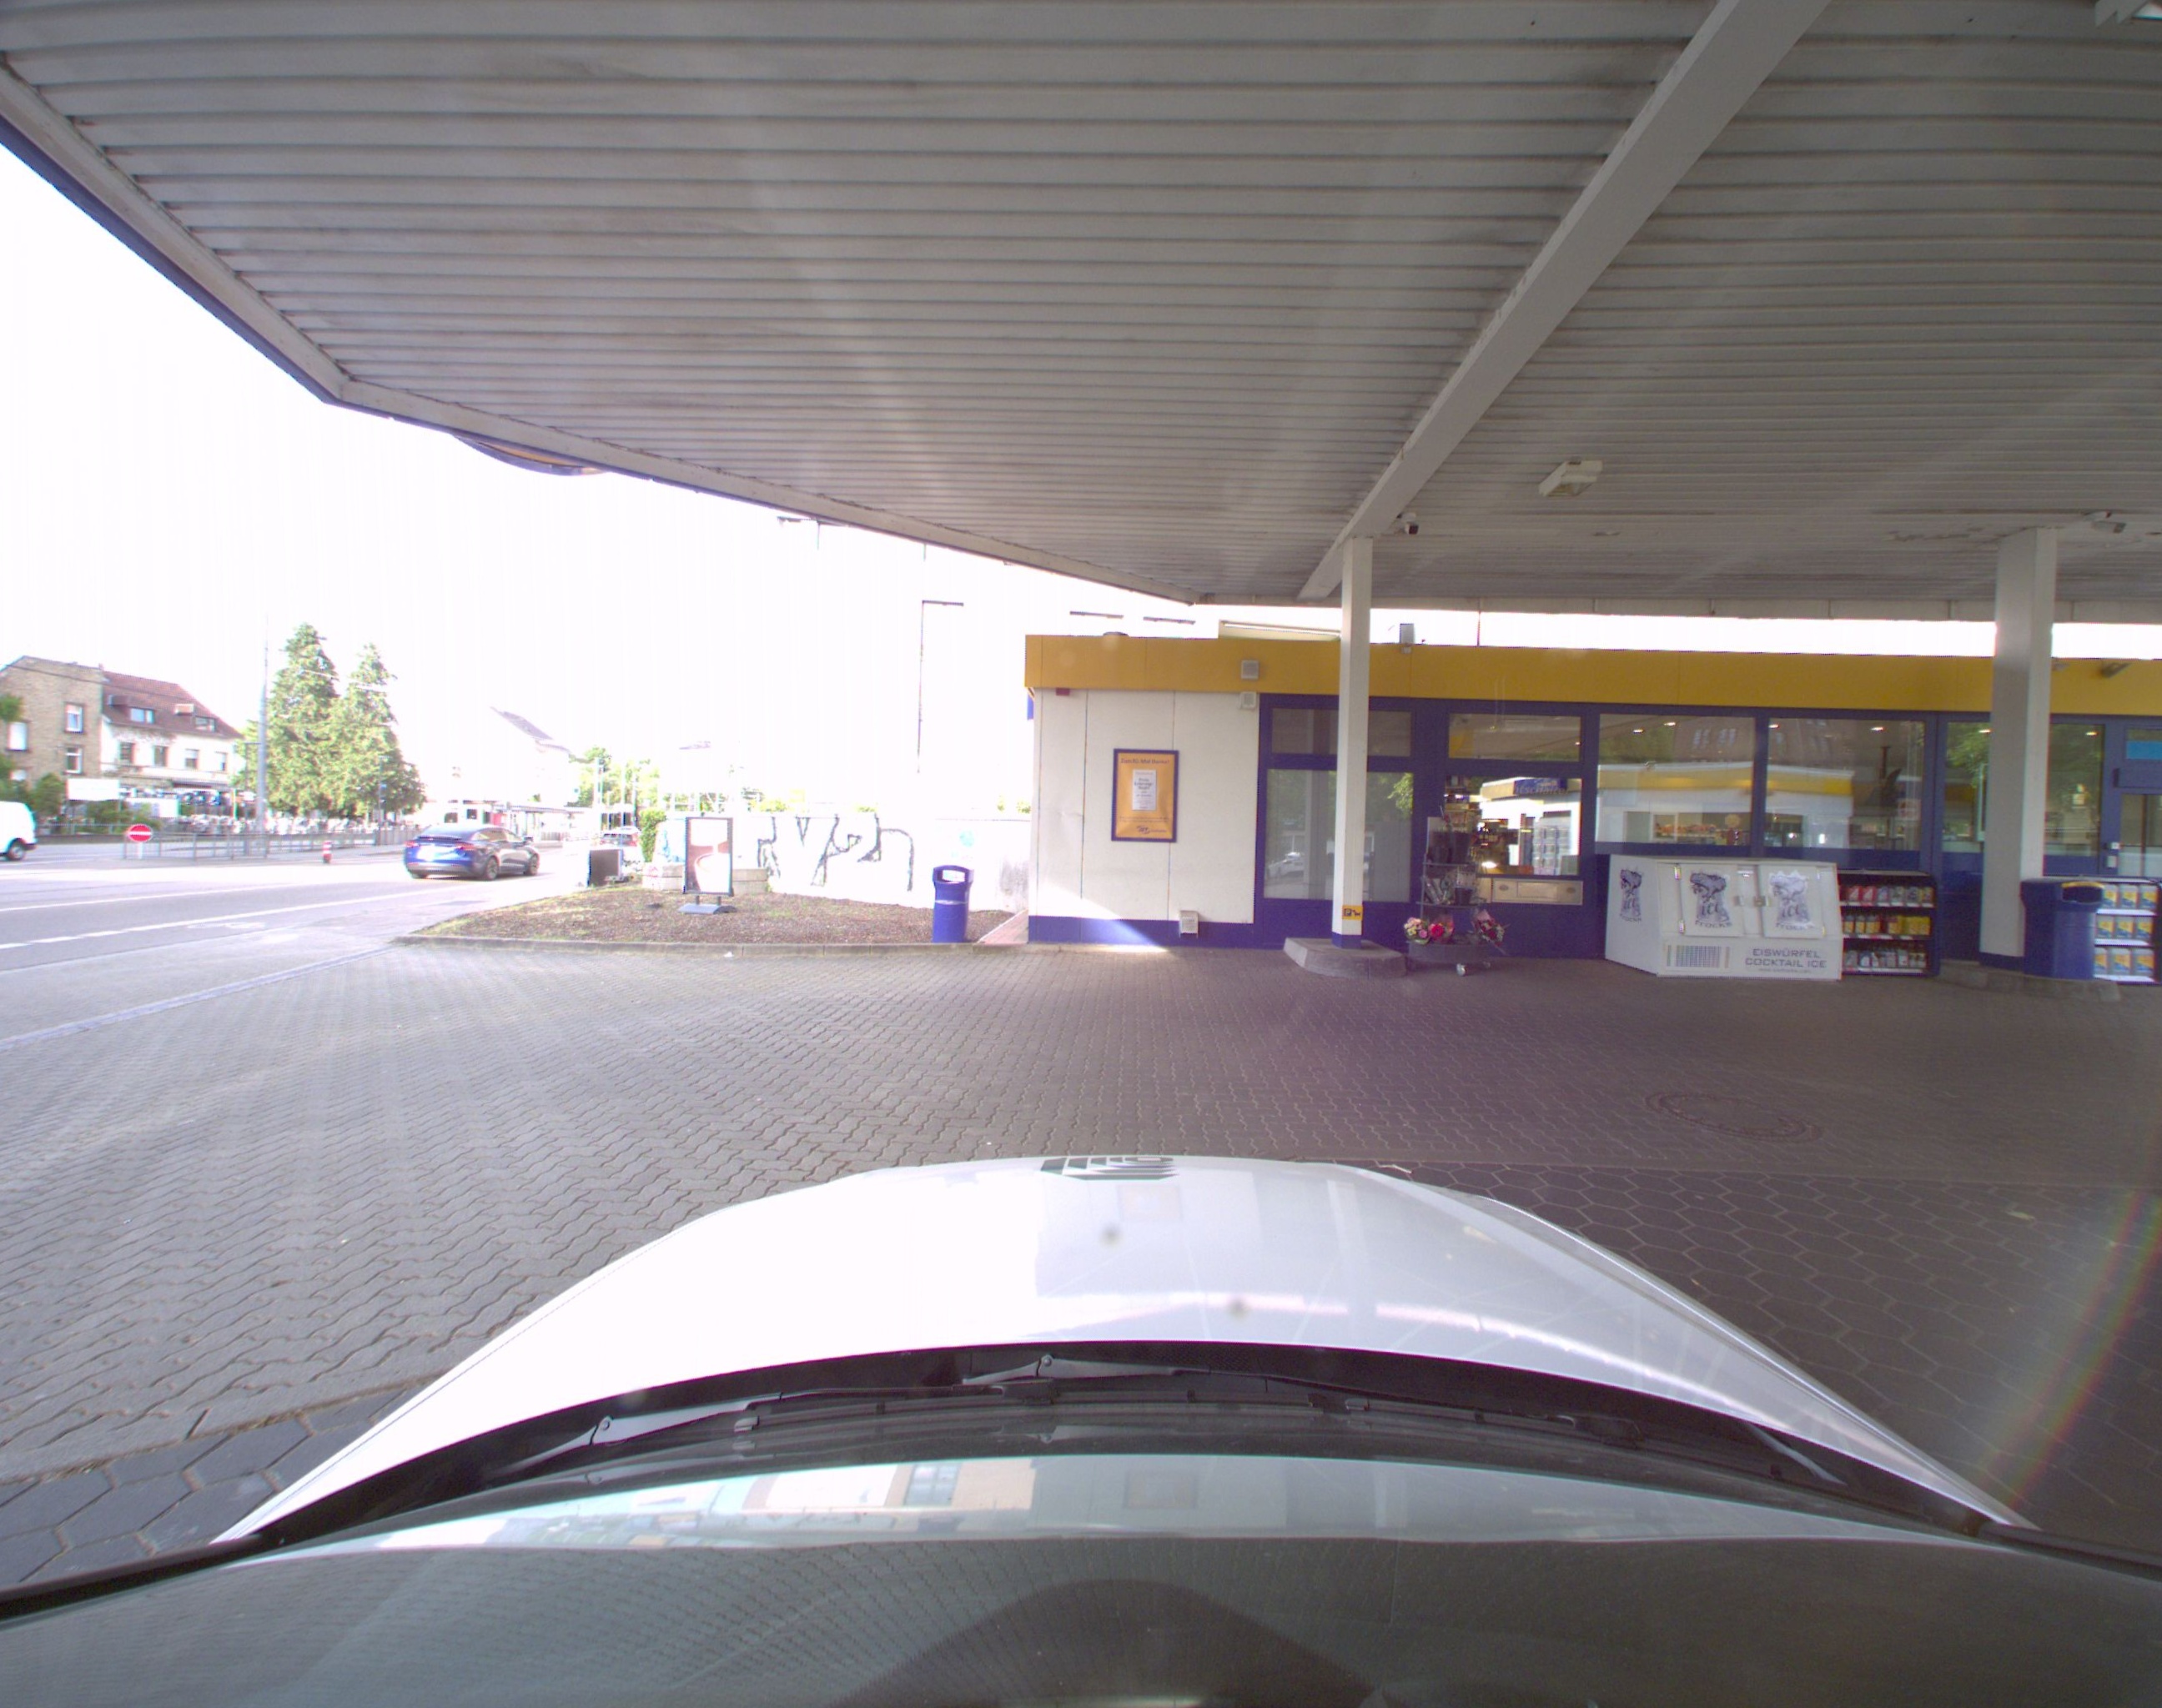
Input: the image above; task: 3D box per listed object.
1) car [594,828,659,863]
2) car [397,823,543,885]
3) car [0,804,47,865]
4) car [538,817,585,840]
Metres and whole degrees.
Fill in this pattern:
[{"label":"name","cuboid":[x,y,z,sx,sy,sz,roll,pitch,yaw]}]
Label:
[{"label":"car","cuboid":[-22.519,-0.437,40.492,1.767,1.543,4.111,2,0,-15]},{"label":"car","cuboid":[-18.626,-0.041,25.136,1.766,1.657,4.829,2,0,-14]},{"label":"car","cuboid":[-34.006,-0.606,24.168,1.968,1.889,4.384,1,0,-19]},{"label":"car","cuboid":[-47.689,-2.357,74.831,1.995,1.968,4.871,1,1,-11]}]
